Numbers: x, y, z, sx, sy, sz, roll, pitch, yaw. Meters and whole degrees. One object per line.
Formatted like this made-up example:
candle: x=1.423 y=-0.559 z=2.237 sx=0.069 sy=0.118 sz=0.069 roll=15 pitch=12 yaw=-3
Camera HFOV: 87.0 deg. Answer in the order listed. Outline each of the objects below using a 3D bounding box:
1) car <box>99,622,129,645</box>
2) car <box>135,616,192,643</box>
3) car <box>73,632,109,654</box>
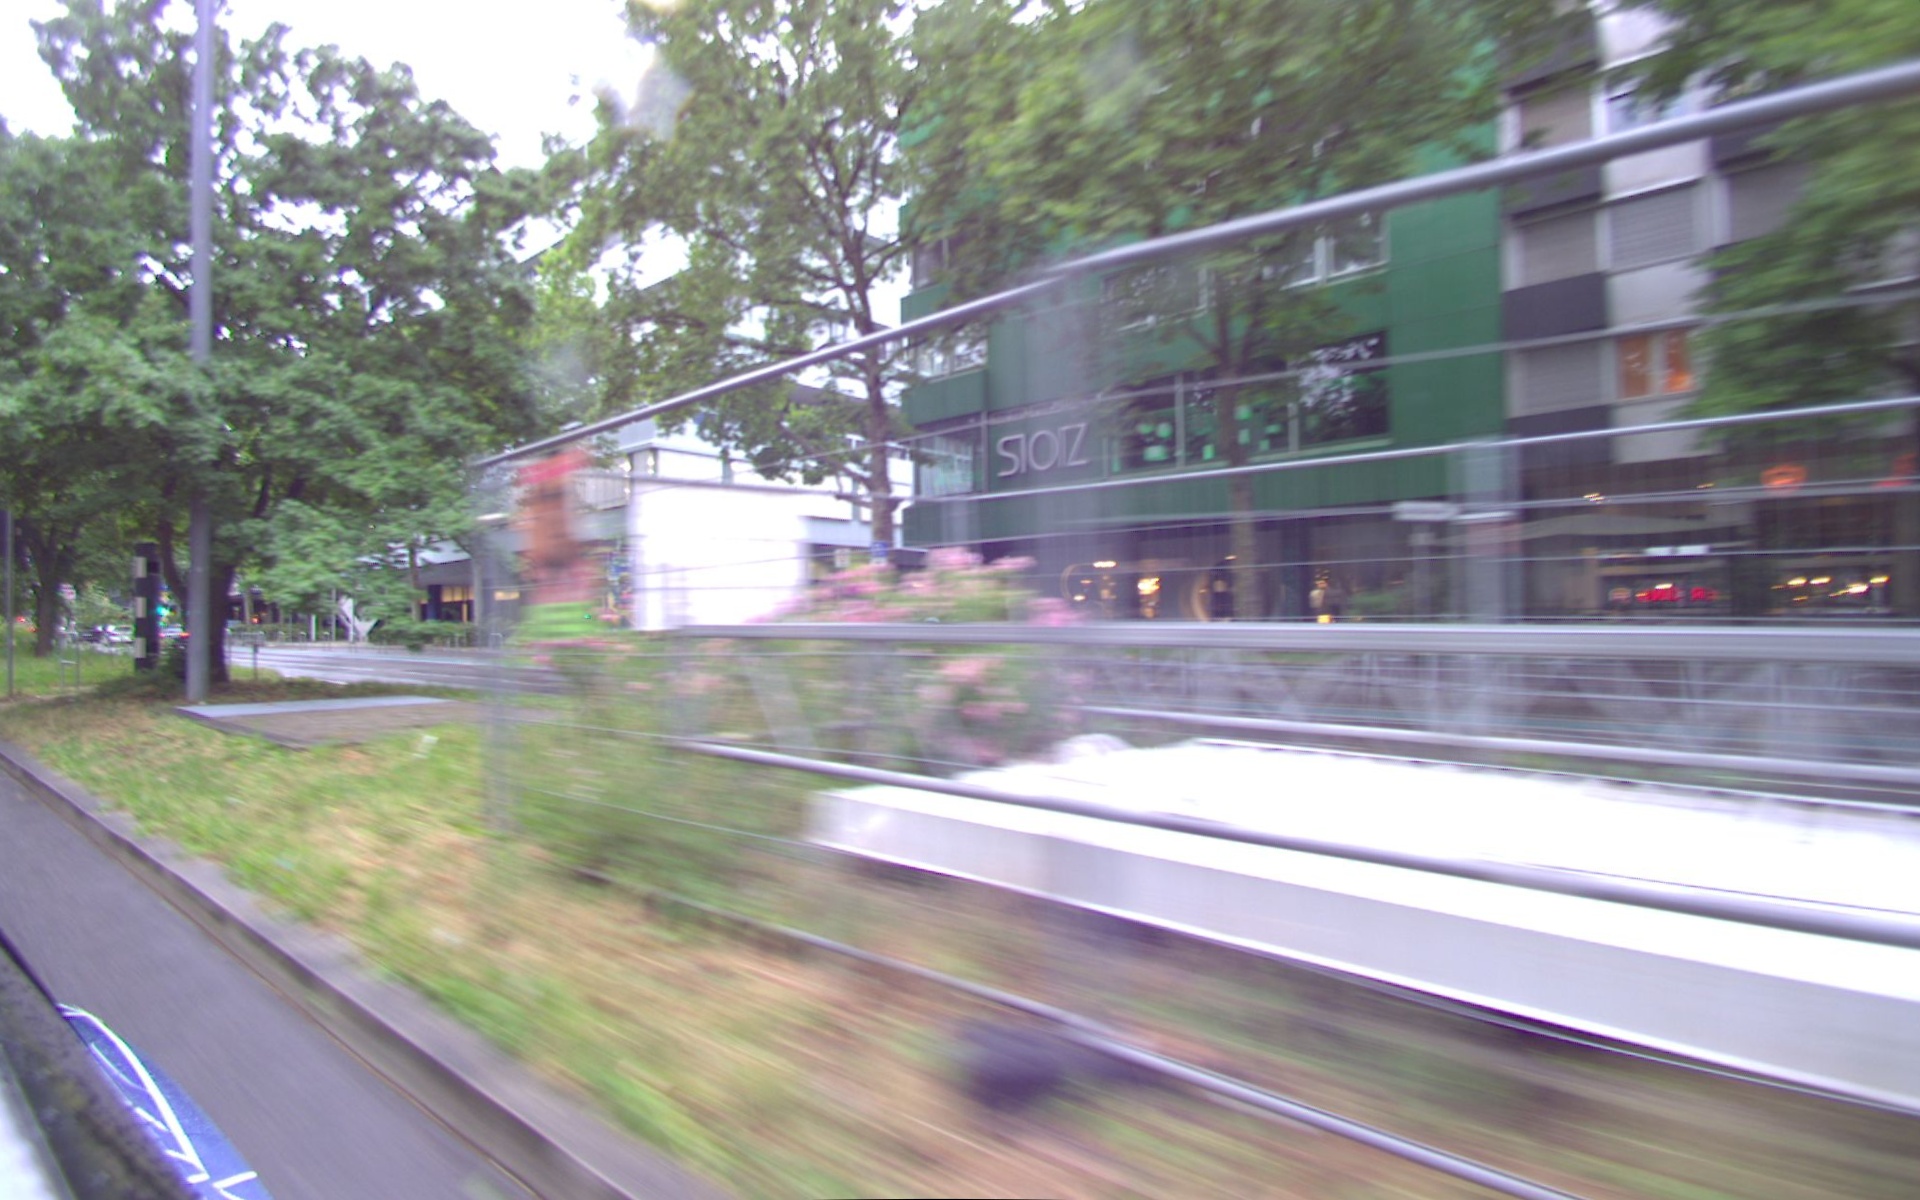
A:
car: x=-58.054 y=2.300 z=69.444 sx=3.561 sy=1.473 sz=1.148 roll=-2 pitch=-2 yaw=44
car: x=-46.750 y=1.753 z=59.355 sx=4.757 sy=1.503 sz=1.971 roll=-2 pitch=-3 yaw=44
car: x=-72.244 y=3.561 z=84.147 sx=1.970 sy=1.815 sz=4.284 roll=1 pitch=-2 yaw=-44
